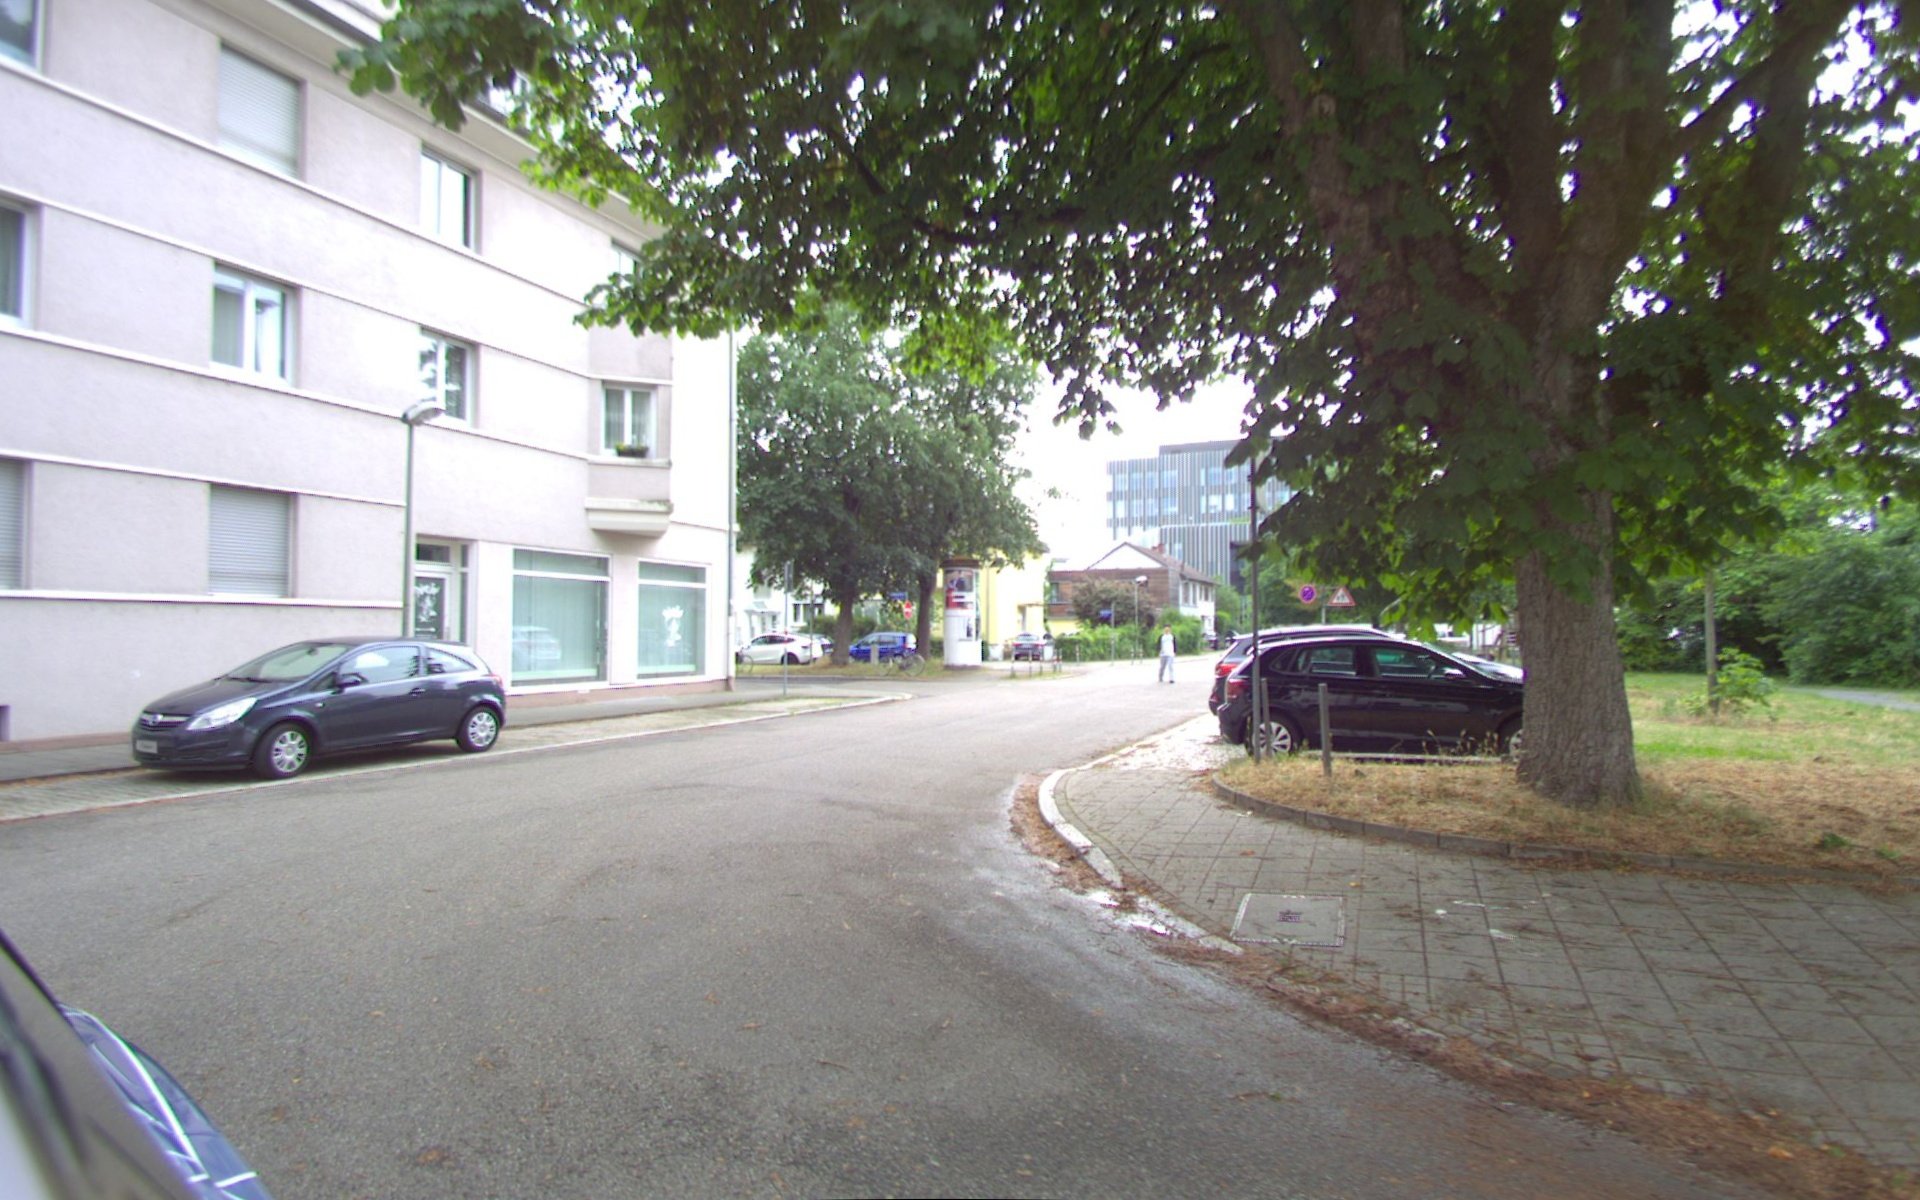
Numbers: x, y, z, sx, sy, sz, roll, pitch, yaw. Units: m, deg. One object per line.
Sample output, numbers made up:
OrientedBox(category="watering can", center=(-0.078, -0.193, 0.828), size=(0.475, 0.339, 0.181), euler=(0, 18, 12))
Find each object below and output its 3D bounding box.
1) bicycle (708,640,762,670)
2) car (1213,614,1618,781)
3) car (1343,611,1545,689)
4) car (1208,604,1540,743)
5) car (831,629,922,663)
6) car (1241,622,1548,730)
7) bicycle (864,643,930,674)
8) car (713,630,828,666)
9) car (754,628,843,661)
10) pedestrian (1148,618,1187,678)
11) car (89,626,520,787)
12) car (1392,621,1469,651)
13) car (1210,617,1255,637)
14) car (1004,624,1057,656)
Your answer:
OrientedBox(category="bicycle", center=(-8.172, 1.992, 36.761), size=(1.871, 1.075, 0.663), euler=(-1, -2, 21))
OrientedBox(category="car", center=(4.954, 0.998, 11.358), size=(3.822, 1.589, 1.814), euler=(-1, -2, 27))
OrientedBox(category="car", center=(11.513, 1.200, 24.341), size=(4.123, 1.572, 1.869), euler=(-5, -2, 24))
OrientedBox(category="car", center=(5.777, 1.000, 14.307), size=(4.049, 1.710, 1.898), euler=(-2, -2, 28))
OrientedBox(category="car", center=(-4.126, 2.258, 49.833), size=(4.182, 1.578, 1.692), euler=(-1, -1, 23))
OrientedBox(category="car", center=(6.996, 1.203, 16.521), size=(4.336, 1.578, 1.824), euler=(-2, -2, 28))
OrientedBox(category="bicycle", center=(-2.120, 1.969, 33.922), size=(2.163, 0.993, 0.509), euler=(-1, 0, 17))
OrientedBox(category="car", center=(-8.601, 2.176, 45.879), size=(4.844, 1.578, 1.891), euler=(-1, -2, 19))
OrientedBox(category="car", center=(-8.228, 2.271, 51.539), size=(4.133, 1.511, 1.709), euler=(-1, 0, 19))
OrientedBox(category="pedestrian", center=(6.435, 1.479, 31.422), size=(0.866, 1.850, 1.220), euler=(0, -2, -3))
OrientedBox(category="car", center=(-7.296, 1.070, 11.738), size=(1.752, 1.501, 3.905), euler=(-1, -1, 24))
OrientedBox(category="car", center=(31.477, 2.436, 67.864), size=(4.460, 1.873, 1.987), euler=(-1, 0, 20))
OrientedBox(category="car", center=(26.440, 2.594, 98.224), size=(3.977, 1.851, 1.983), euler=(-1, 0, 25))
OrientedBox(category="car", center=(3.748, 2.089, 53.279), size=(1.829, 1.623, 3.974), euler=(-1, -2, 19))
